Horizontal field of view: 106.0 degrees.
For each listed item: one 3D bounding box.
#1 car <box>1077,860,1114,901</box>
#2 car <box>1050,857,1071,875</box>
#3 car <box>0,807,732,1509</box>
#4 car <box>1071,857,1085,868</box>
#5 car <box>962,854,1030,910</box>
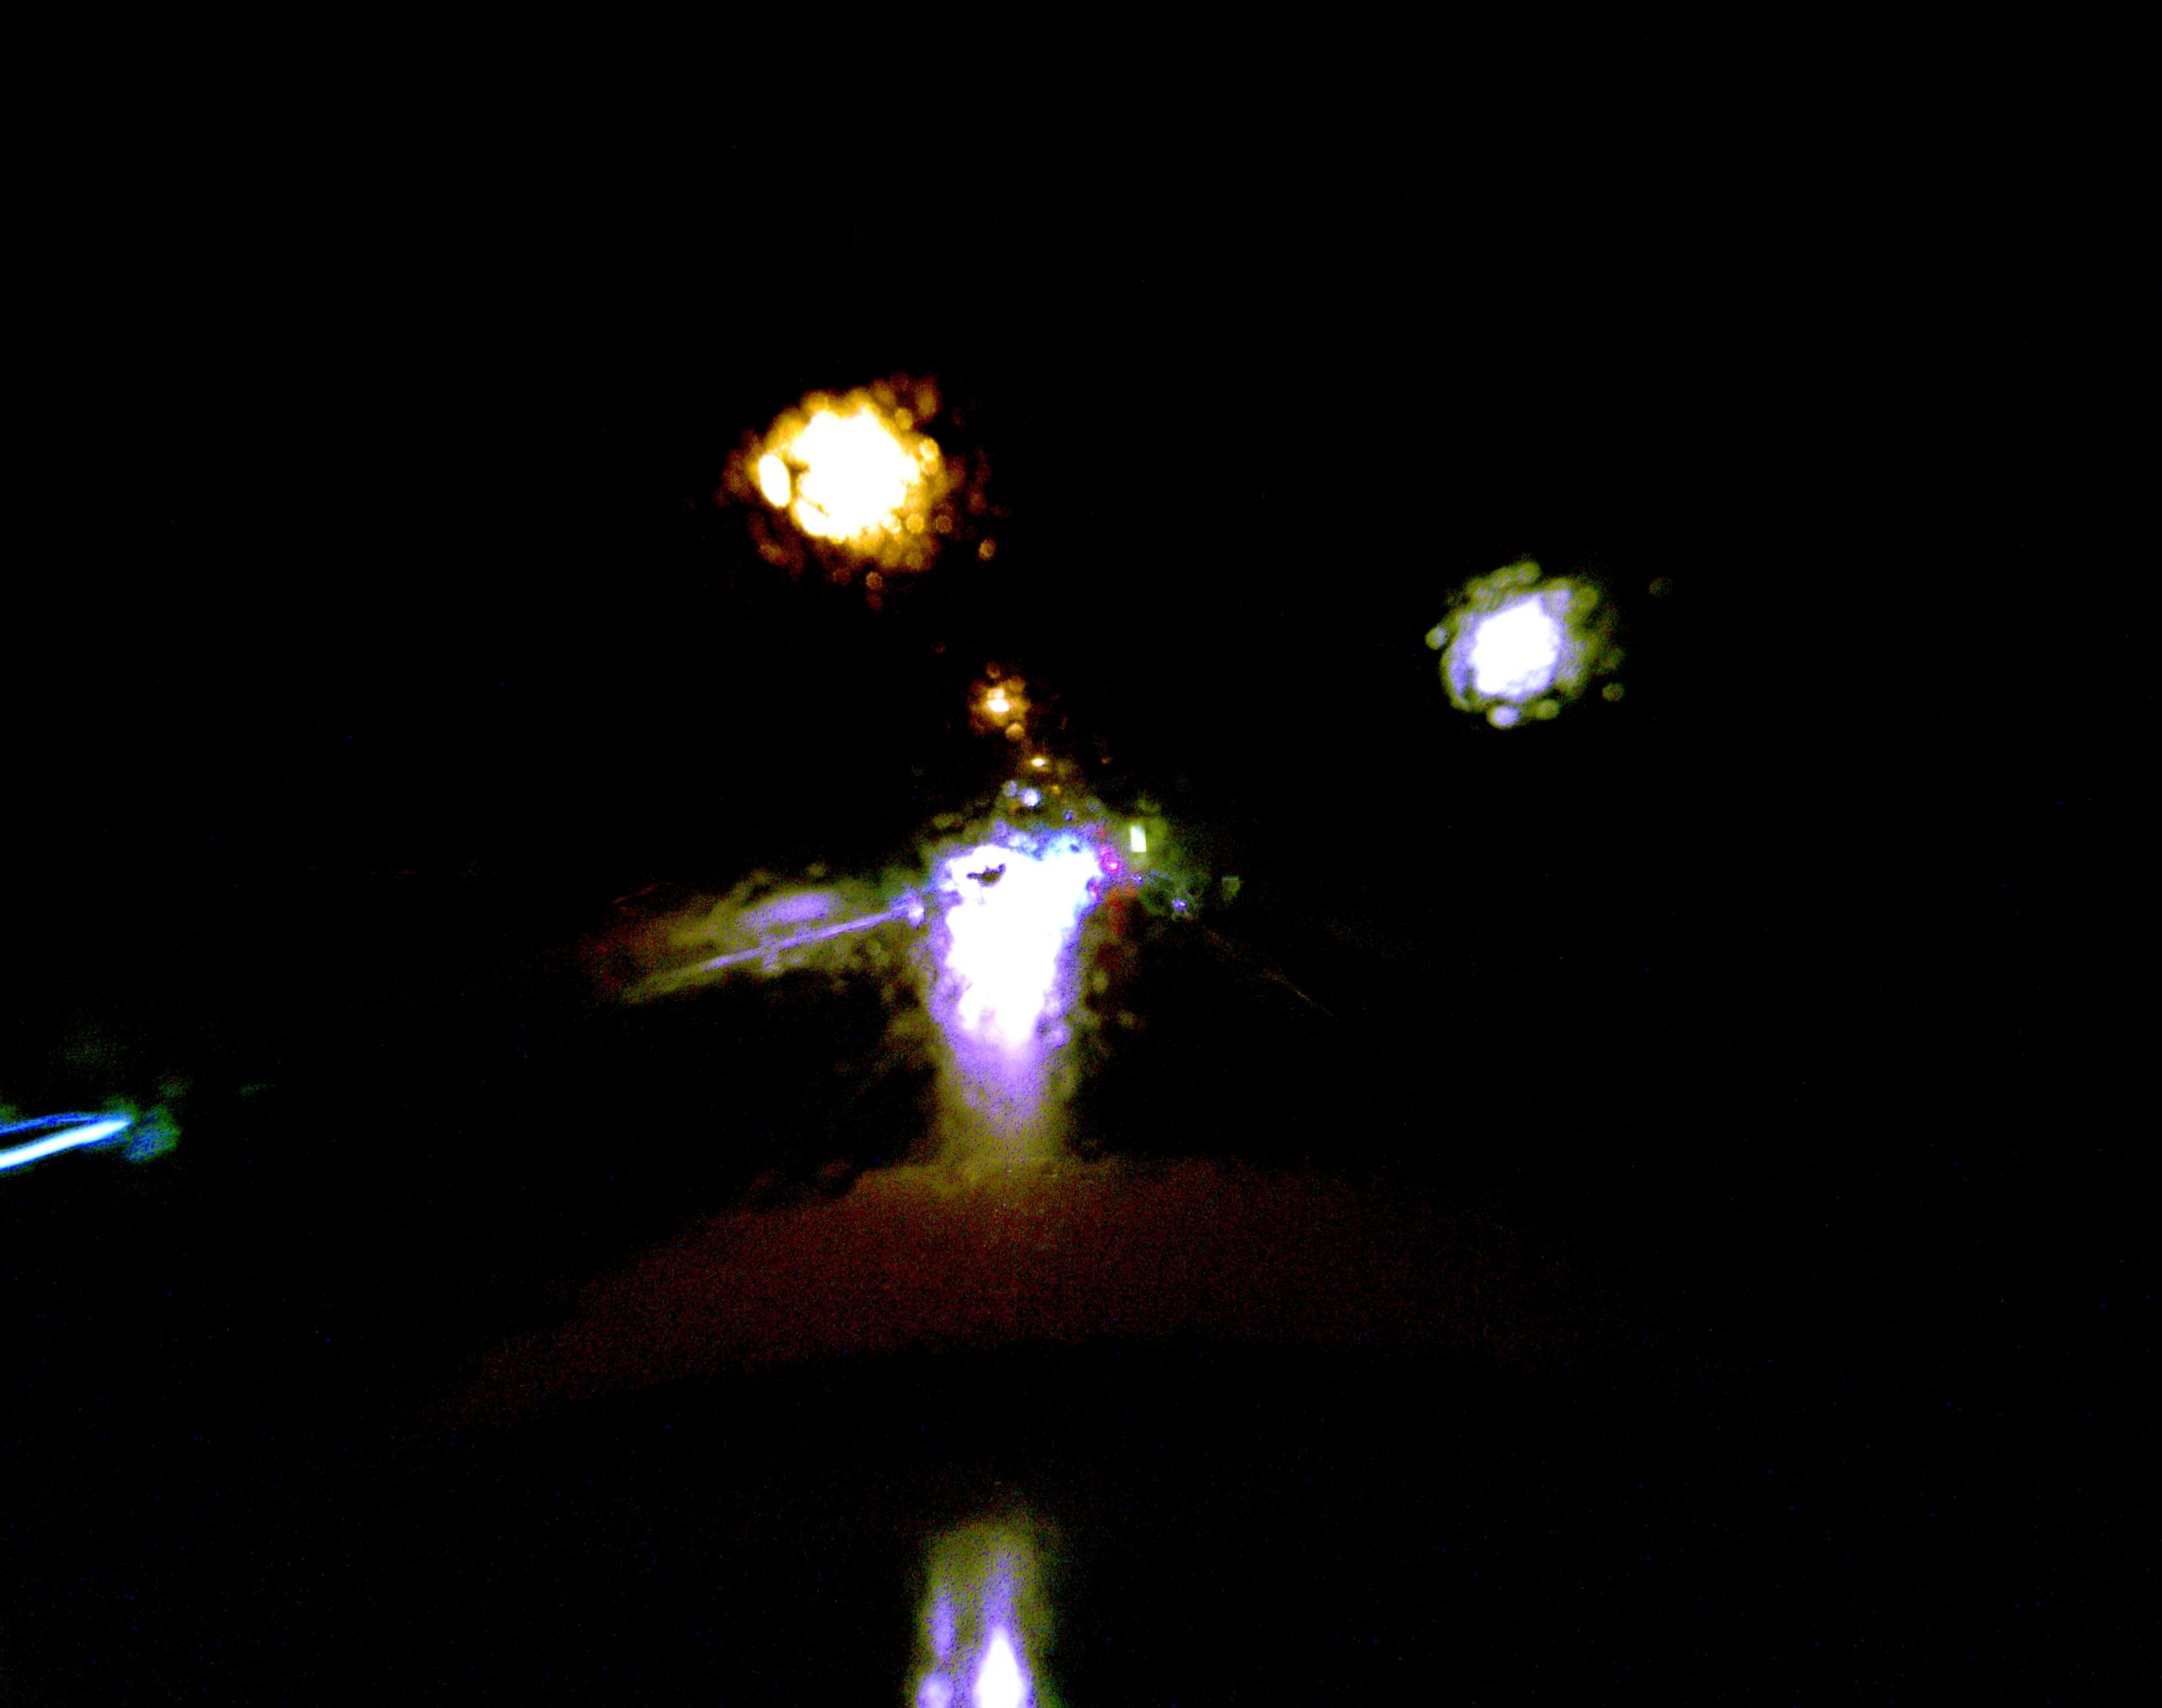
[{"bbox_3d":[0.693,1.165,37.946,1.629,1.758,4.147,-1,0,2],"label":"car"},{"bbox_3d":[-1.938,1.095,77.259,1.691,1.676,4.129,-1,0,2],"label":"car"},{"bbox_3d":[-3.433,0.743,3.490,1.774,1.676,4.562,-1,0,2],"label":"car"},{"bbox_3d":[-0.432,1.104,111.675,1.742,1.480,4.477,-1,0,2],"label":"car"},{"bbox_3d":[-2.760,0.881,27.302,1.909,1.728,3.998,-1,0,-1],"label":"car"}]
